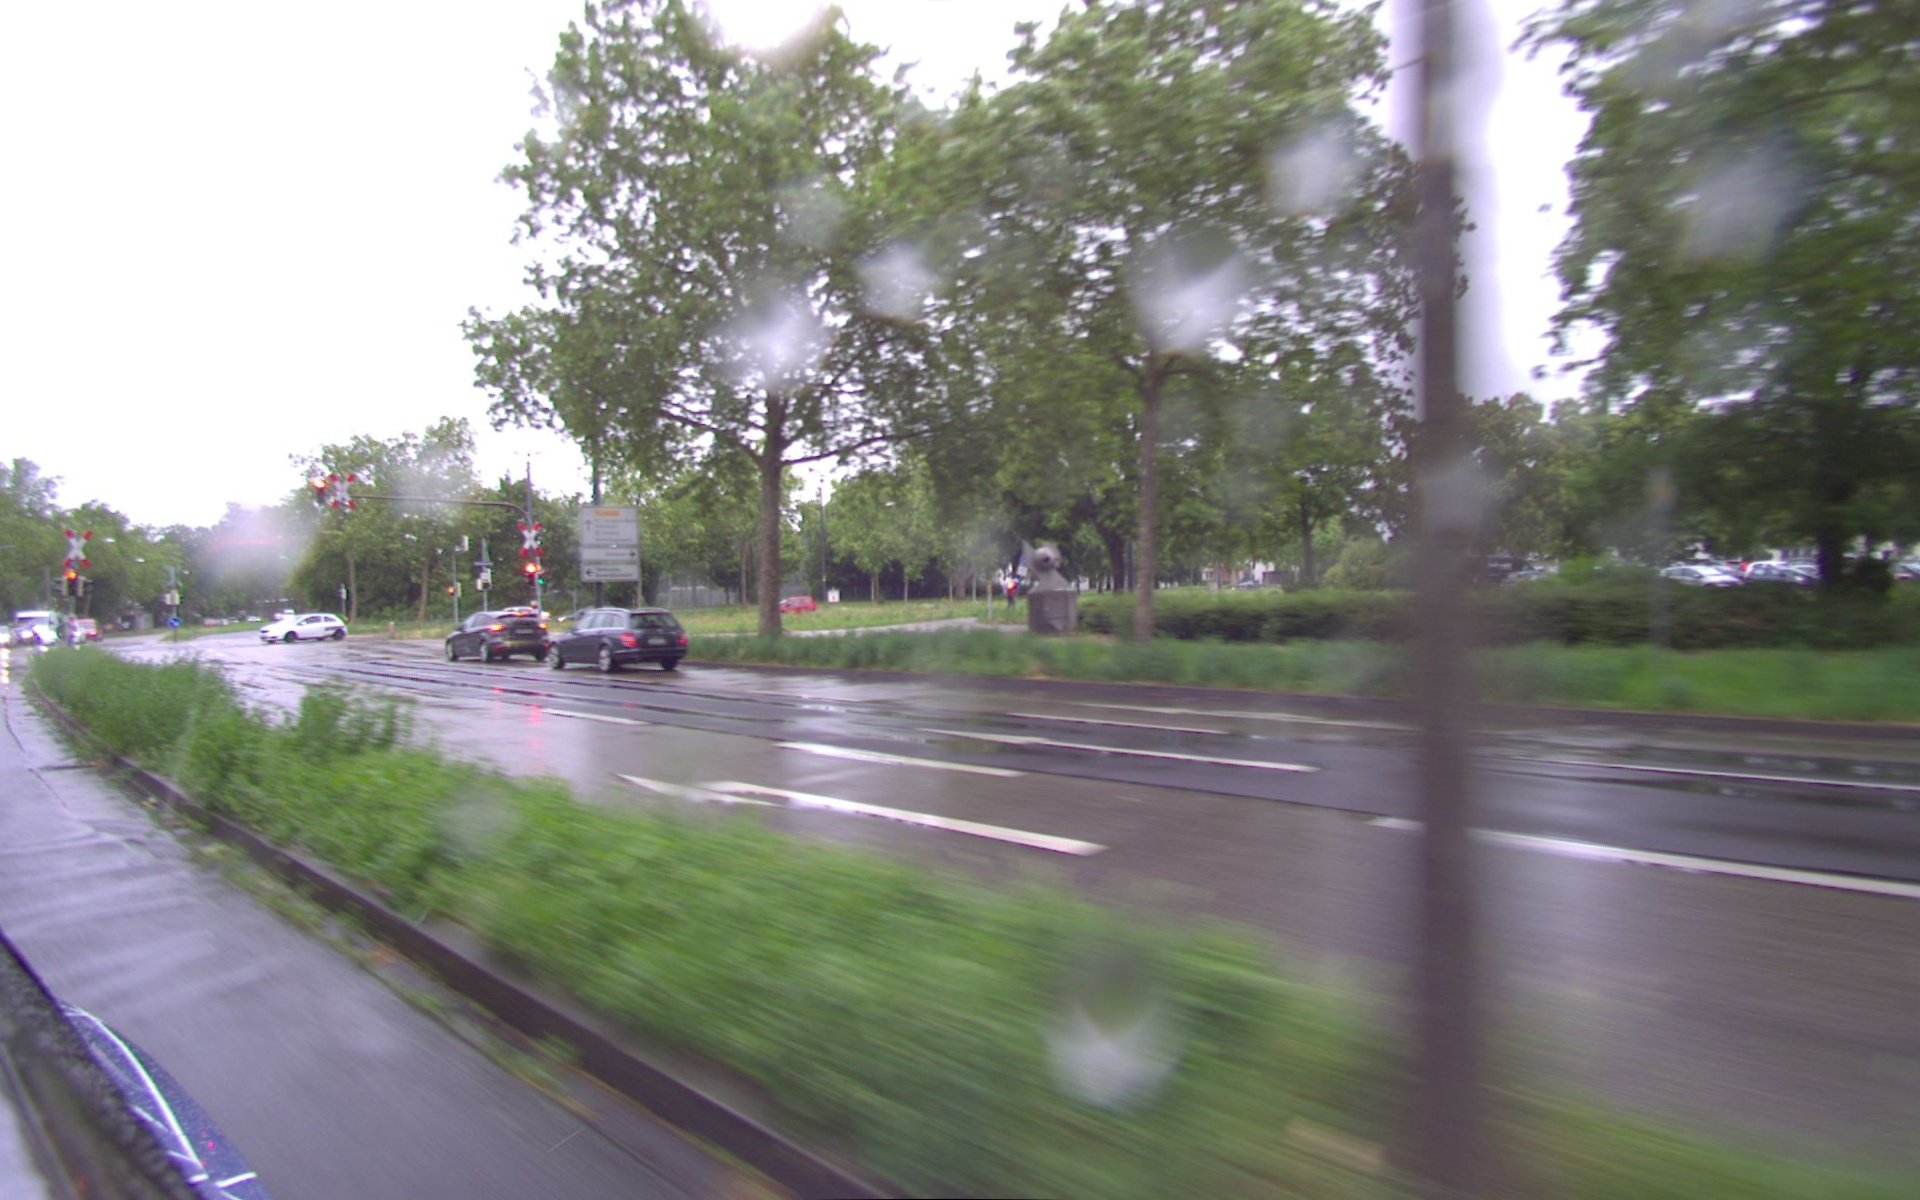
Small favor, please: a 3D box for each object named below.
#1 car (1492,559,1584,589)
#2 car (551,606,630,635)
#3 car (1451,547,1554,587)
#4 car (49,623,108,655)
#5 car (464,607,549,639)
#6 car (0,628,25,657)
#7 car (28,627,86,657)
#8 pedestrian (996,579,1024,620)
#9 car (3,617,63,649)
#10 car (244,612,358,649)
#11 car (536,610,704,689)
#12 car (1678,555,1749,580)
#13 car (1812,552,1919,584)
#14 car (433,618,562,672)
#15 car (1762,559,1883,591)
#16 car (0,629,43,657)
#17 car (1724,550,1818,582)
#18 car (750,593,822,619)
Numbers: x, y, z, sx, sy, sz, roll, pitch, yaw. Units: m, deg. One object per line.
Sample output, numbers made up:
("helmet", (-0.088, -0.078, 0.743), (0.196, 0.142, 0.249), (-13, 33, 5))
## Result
("car", (32.943, -1.456, 57.719), (4.423, 1.548, 2.006), (-2, 1, -15))
("car", (-23.834, 1.291, 65.280), (4.444, 1.641, 2.006), (-2, 1, -29))
("car", (32.232, -1.976, 60.159), (5.326, 2.190, 2.005), (-2, 1, -14))
("car", (-60.232, 2.637, 69.244), (1.966, 1.901, 4.536), (-2, 1, -28))
("car", (-26.994, 1.321, 60.278), (4.426, 1.641, 2.006), (-2, 1, -29))
("car", (-59.388, 2.656, 62.075), (1.966, 1.641, 4.536), (-2, 1, -30))
("car", (-57.114, 2.625, 64.072), (1.966, 1.641, 4.534), (-2, 1, -33))
("pedestrian", (2.517, -0.038, 50.994), (0.886, 2.029, 1.021), (-2, 1, -41))
("car", (-68.010, 2.383, 74.336), (1.966, 2.123, 5.160), (-2, 1, -28))
("car", (-33.768, 1.545, 51.956), (1.991, 1.641, 4.478), (-1, 1, 29))
("car", (-8.160, 1.106, 24.110), (4.332, 1.643, 1.972), (-1, 1, 44))
("car", (63.274, -2.694, 85.083), (1.966, 1.916, 4.512), (-2, 1, -16))
("car", (48.281, -1.673, 53.589), (1.966, 1.548, 4.512), (-2, 1, -16))
("car", (-13.618, 1.258, 29.691), (4.332, 1.384, 1.972), (-1, 1, 44))
("car", (45.548, -1.314, 53.551), (1.966, 1.548, 4.512), (-2, 1, -16))
("car", (-64.233, 2.904, 68.768), (1.966, 1.641, 4.535), (-2, 1, -31))
("car", (53.328, -2.200, 66.670), (1.966, 1.916, 4.512), (-2, 1, -16))
("car", (-12.062, 0.415, 70.287), (4.444, 1.641, 2.006), (-2, 1, -29))
